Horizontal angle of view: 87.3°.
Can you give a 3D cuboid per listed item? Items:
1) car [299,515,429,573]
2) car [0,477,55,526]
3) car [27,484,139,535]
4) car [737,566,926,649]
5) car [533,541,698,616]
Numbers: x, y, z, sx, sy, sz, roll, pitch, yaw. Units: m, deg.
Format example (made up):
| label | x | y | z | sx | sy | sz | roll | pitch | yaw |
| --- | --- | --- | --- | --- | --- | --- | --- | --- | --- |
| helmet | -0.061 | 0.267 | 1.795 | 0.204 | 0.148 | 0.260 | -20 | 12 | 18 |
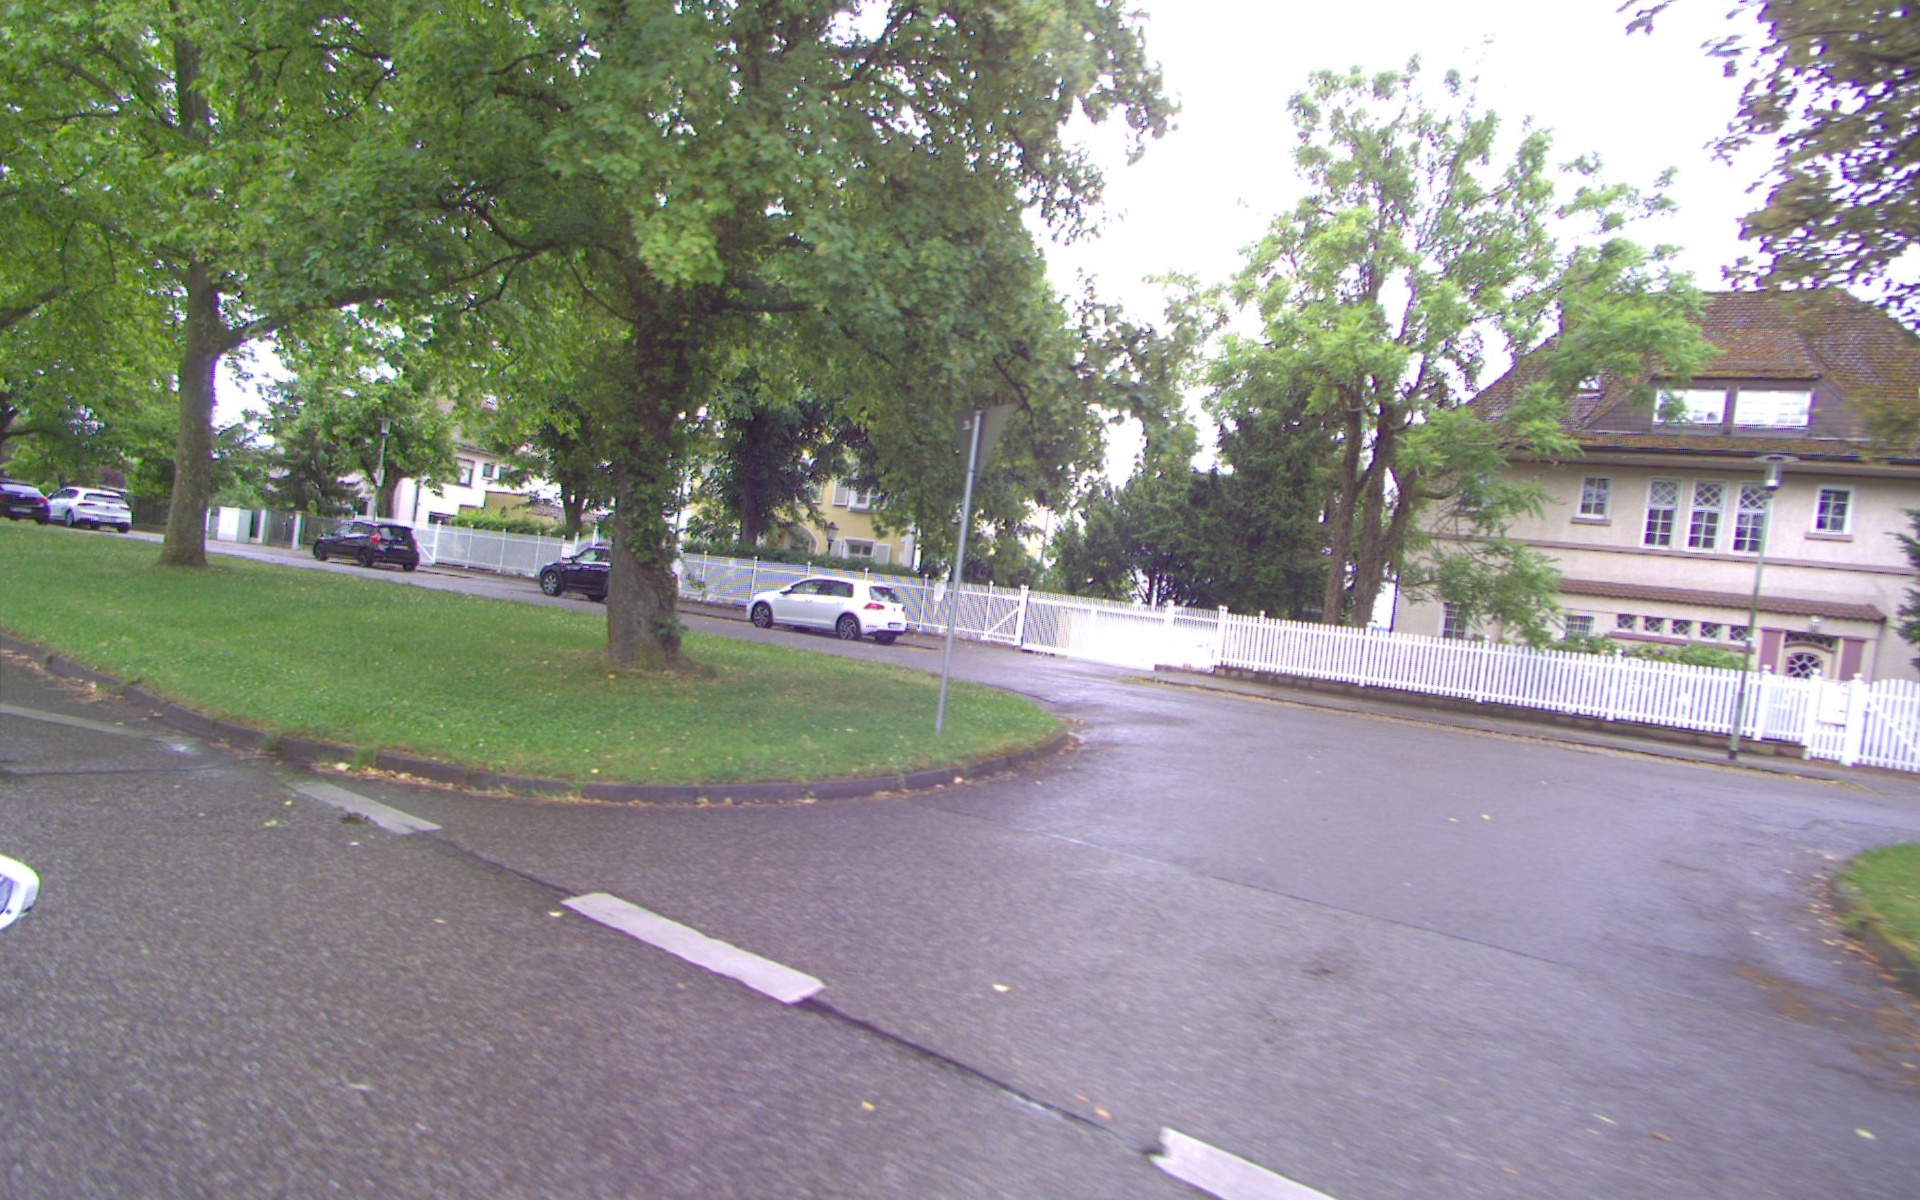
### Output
| label | x | y | z | sx | sy | sz | roll | pitch | yaw |
| --- | --- | --- | --- | --- | --- | --- | --- | --- | --- |
| car | -20.060 | -1.889 | 33.829 | 4.282 | 1.489 | 1.763 | 6 | 0 | 29 |
| car | -33.927 | -3.558 | 35.450 | 4.522 | 1.490 | 1.765 | 6 | 1 | 32 |
| car | -32.852 | -3.403 | 37.675 | 4.352 | 1.490 | 1.847 | 6 | 1 | 31 |
| car | -3.155 | 0.184 | 24.593 | 4.053 | 1.465 | 1.999 | 6 | -2 | 29 |
| car | -9.546 | -0.596 | 27.869 | 4.053 | 1.488 | 1.999 | 6 | -2 | 29 |
